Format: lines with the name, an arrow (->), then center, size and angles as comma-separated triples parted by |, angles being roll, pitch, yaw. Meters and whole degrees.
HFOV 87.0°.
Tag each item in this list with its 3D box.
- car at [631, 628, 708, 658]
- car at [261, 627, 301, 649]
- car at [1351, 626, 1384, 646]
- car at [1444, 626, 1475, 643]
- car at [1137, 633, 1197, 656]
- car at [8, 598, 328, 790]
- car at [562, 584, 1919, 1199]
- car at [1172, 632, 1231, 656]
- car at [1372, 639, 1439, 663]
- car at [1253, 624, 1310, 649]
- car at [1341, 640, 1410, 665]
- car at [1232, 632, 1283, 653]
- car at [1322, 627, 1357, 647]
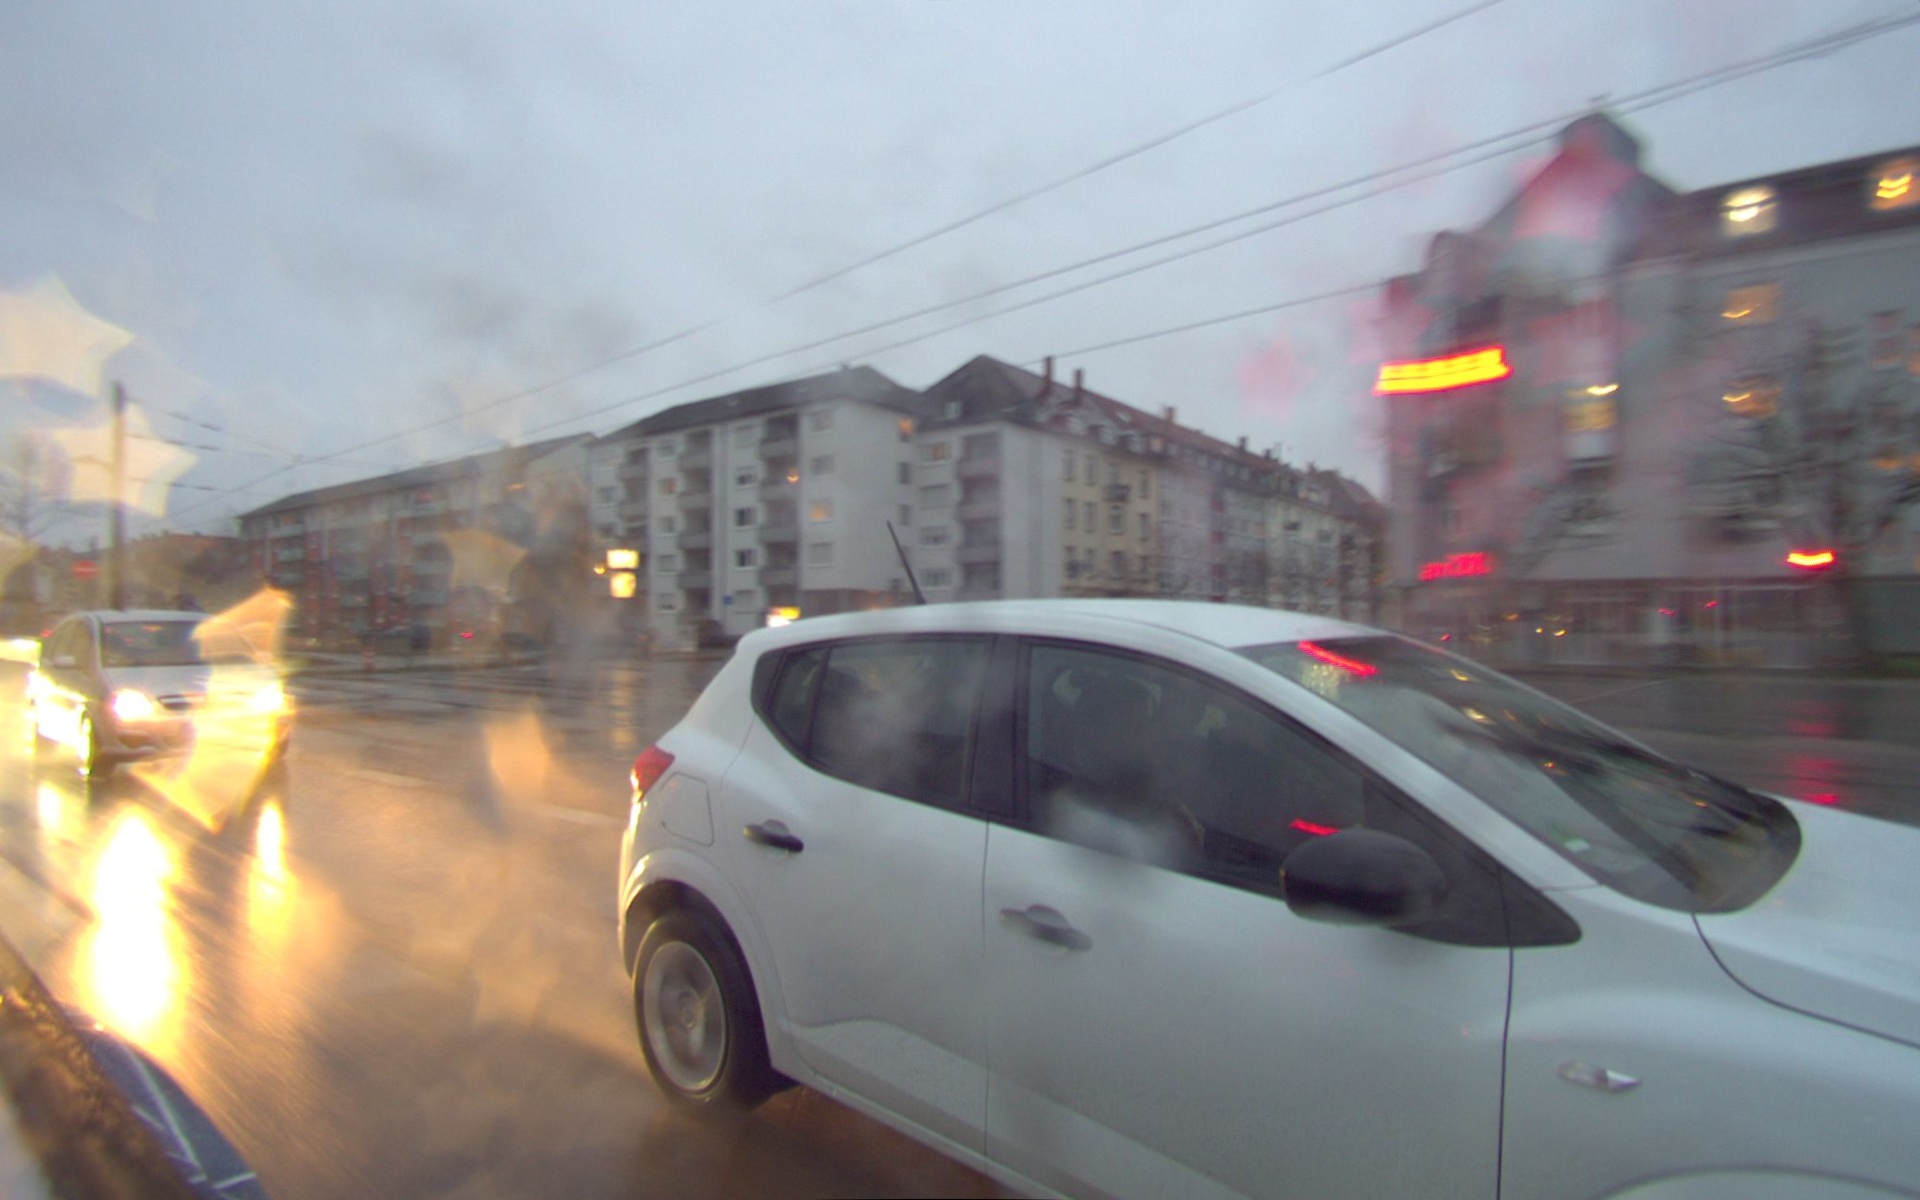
car -> -15.380, 2.254, 53.674 | 1.693, 1.377, 3.769 | 0, 0, 32
car -> -57.068, 3.167, 85.038 | 4.147, 1.658, 1.707 | 0, 0, 40
car -> 39.758, 3.478, 98.767 | 1.998, 1.844, 3.813 | 0, 0, 39
car -> 45.220, 3.109, 91.650 | 1.685, 1.357, 3.485 | 0, 0, 42
car -> 13.333, 2.853, 65.238 | 3.448, 1.308, 1.569 | 0, 0, 37
car -> -8.673, 0.828, 10.974 | 3.997, 1.690, 1.995 | 0, 0, 41
car -> 0.797, 0.717, 2.527 | 3.998, 1.477, 1.690 | 0, 0, 41
car -> 16.886, 3.037, 70.800 | 3.610, 1.533, 1.660 | 0, 0, 37
car -> 28.108, 3.182, 63.839 | 3.610, 1.352, 1.582 | 0, 0, 37
car -> 25.229, 2.823, 79.382 | 3.994, 1.813, 1.556 | 0, 0, 37
car -> 25.364, 3.187, 61.796 | 3.610, 1.352, 1.582 | 0, 0, 37
car -> 22.921, 3.244, 77.972 | 3.509, 1.456, 1.427 | 0, 0, 37
car -> 29.362, 2.857, 78.326 | 1.488, 1.371, 3.392 | 0, 0, 40
